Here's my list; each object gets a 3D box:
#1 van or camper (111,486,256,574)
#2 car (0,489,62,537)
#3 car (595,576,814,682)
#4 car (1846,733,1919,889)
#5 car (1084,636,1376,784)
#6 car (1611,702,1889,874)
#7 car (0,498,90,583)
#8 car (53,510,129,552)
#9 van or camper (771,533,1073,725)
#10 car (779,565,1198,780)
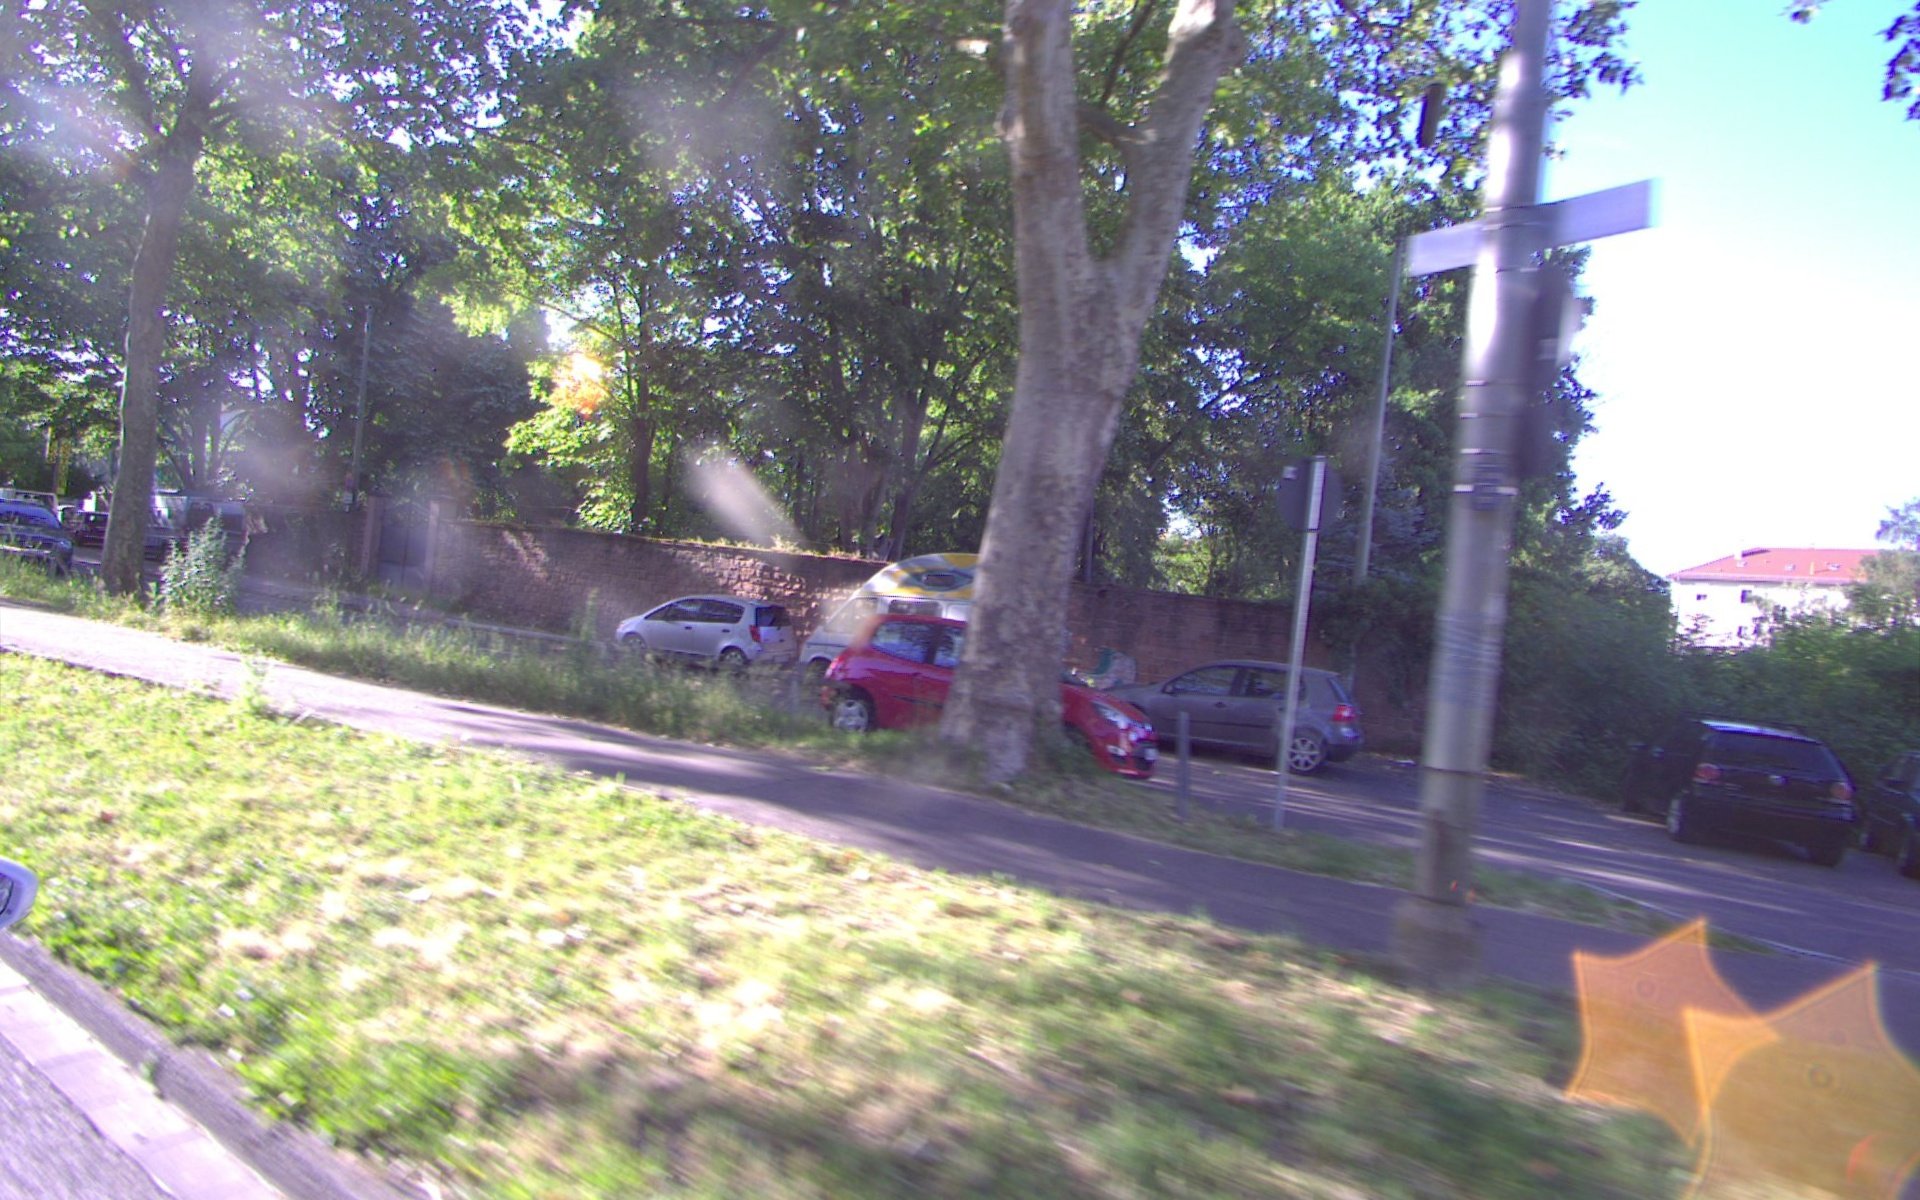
[{"bbox_3d":[-29.068,-2.655,37.565,6.463,2.719,2.554,7,2,37],"label":"van or camper"},{"bbox_3d":[-47.833,-4.469,51.237,4.867,2.038,2.087,6,-1,37],"label":"car"},{"bbox_3d":[-5.239,0.544,20.692,3.926,1.640,1.842,7,3,21],"label":"car"},{"bbox_3d":[11.870,2.502,11.799,1.594,1.410,3.987,6,0,34],"label":"car"},{"bbox_3d":[4.148,1.580,15.408,3.928,1.593,1.998,6,0,25],"label":"car"},{"bbox_3d":[9.918,2.241,13.016,1.734,1.522,3.999,6,-1,24],"label":"car"},{"bbox_3d":[-22.229,-1.487,23.512,4.556,1.653,1.794,5,-3,37],"label":"car"},{"bbox_3d":[-37.330,-2.965,43.202,3.701,1.491,1.688,6,1,37],"label":"car"},{"bbox_3d":[-0.726,0.412,17.976,4.879,2.768,1.995,6,2,29],"label":"van or camper"},{"bbox_3d":[0.310,0.726,10.931,3.930,1.658,2.000,6,-2,27],"label":"car"}]
